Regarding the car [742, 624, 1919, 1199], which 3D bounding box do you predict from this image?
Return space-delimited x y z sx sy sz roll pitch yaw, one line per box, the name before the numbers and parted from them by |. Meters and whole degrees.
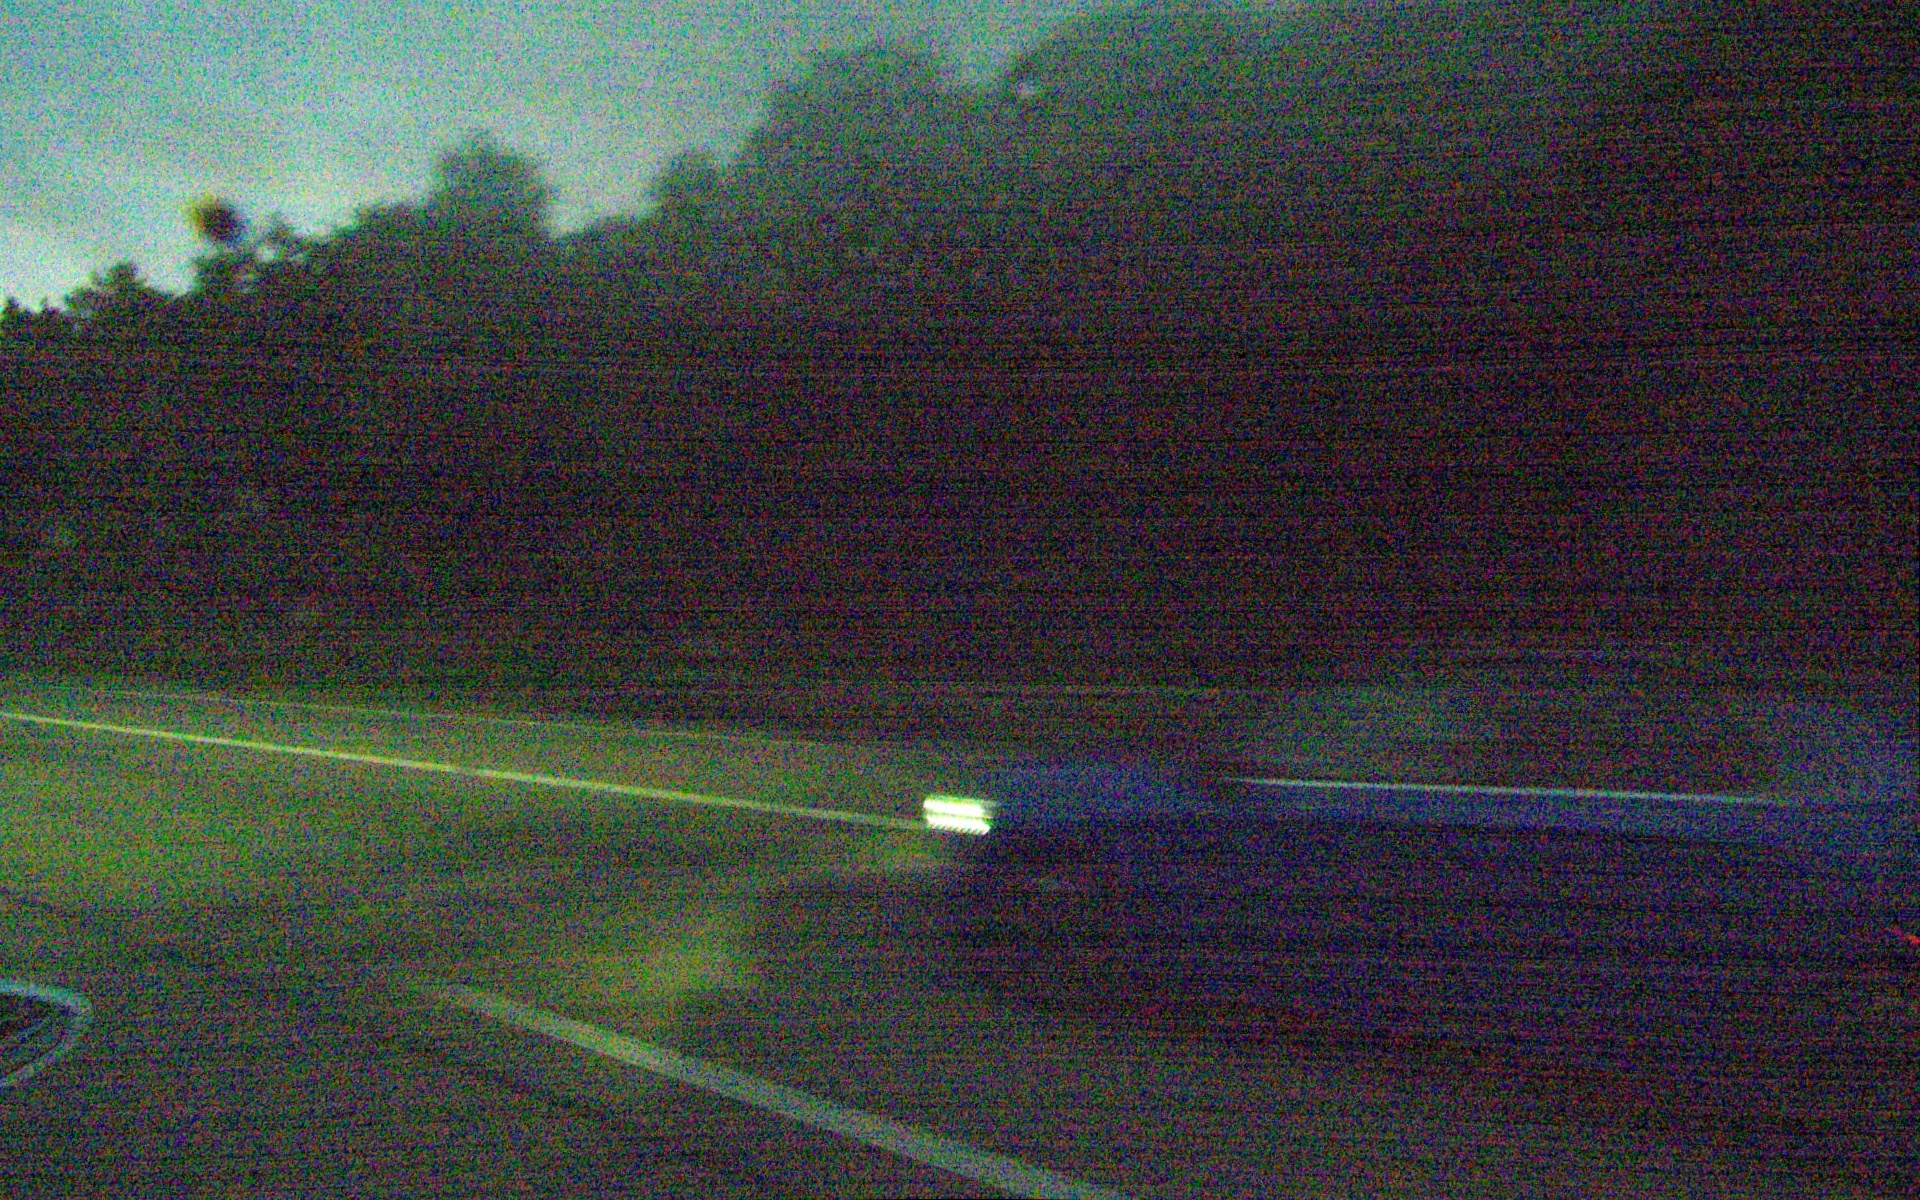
car | 1.389 0.863 4.135 4.520 1.454 1.862 -2 -2 33
